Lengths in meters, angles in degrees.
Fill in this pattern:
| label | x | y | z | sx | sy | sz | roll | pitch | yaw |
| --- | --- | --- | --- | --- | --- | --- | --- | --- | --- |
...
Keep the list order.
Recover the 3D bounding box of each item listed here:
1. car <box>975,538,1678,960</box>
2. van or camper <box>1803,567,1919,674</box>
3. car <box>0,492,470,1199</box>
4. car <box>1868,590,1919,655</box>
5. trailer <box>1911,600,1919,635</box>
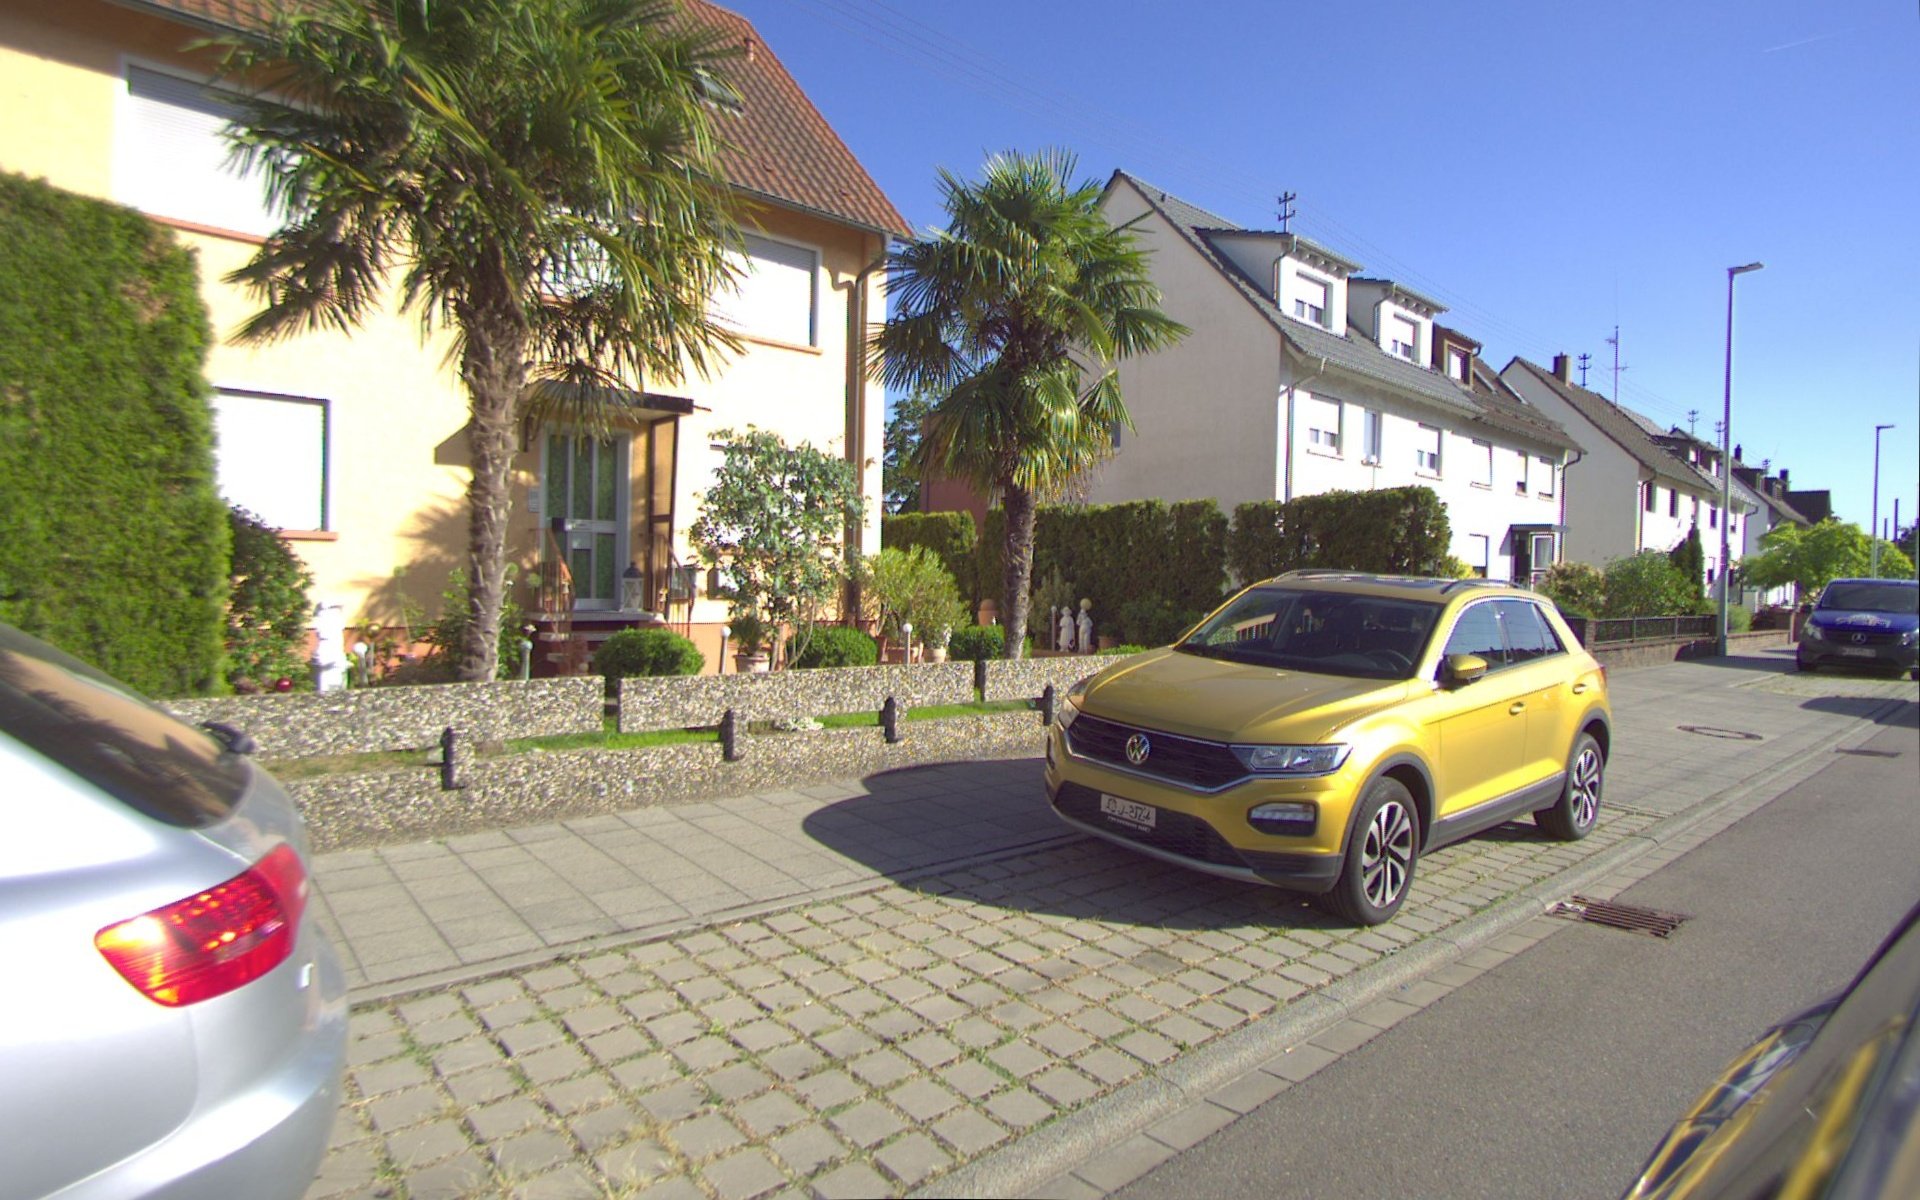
| label | x | y | z | sx | sy | sz | roll | pitch | yaw |
| --- | --- | --- | --- | --- | --- | --- | --- | --- | --- |
| car | 2.498 | 0.495 | 6.052 | 4.841 | 1.578 | 1.809 | -1 | 3 | -41 |
| van or camper | 18.769 | 0.331 | 20.411 | 5.488 | 1.869 | 1.952 | -1 | 3 | -42 |
| car | -3.145 | 0.531 | 0.843 | 4.616 | 1.465 | 1.751 | 1 | 2 | -41 |
| car | 24.052 | 0.517 | 25.307 | 1.731 | 1.476 | 5.200 | 2 | 2 | 45 |
| trailer | 35.364 | 0.654 | 35.805 | 6.332 | 1.144 | 2.274 | 0 | 4 | -45 |
